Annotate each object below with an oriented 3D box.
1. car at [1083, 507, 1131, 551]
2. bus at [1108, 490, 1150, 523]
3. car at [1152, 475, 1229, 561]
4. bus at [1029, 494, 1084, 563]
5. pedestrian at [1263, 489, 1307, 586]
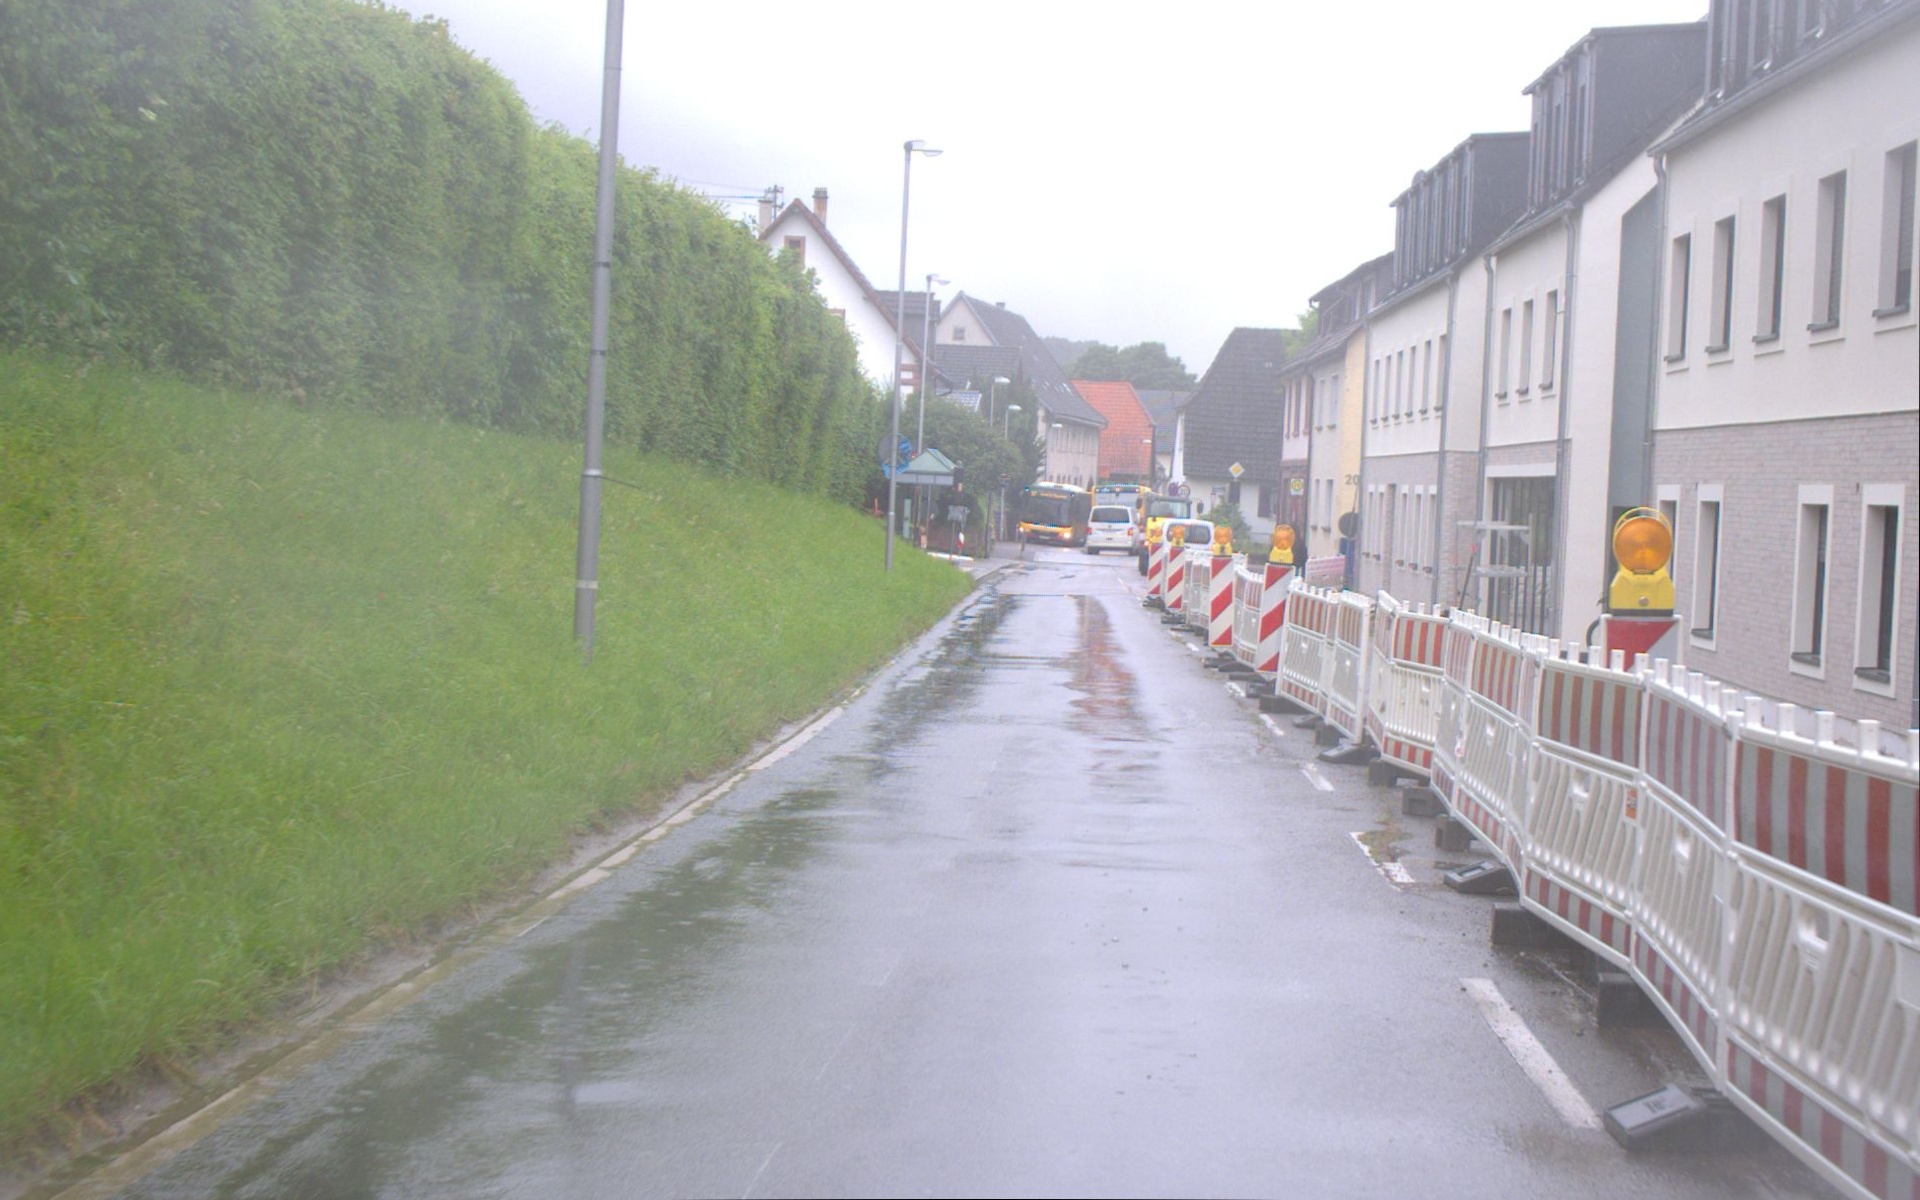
[{"bbox_3d":[5.825,-2.826,136.482,1.818,1.636,4.096,-3,1,2],"label":"car"},{"bbox_3d":[8.074,-4.460,164.289,1.794,1.405,4.000,4,1,4],"label":"bus"},{"bbox_3d":[6.705,-2.401,100.476,1.993,2.367,4.096,-3,1,2],"label":"car"},{"bbox_3d":[4.690,-3.436,166.149,2.242,3.092,7.030,4,1,4],"label":"bus"},{"bbox_3d":[5.987,-1.151,63.329,0.665,1.749,0.812,-3,1,0],"label":"pedestrian"}]
